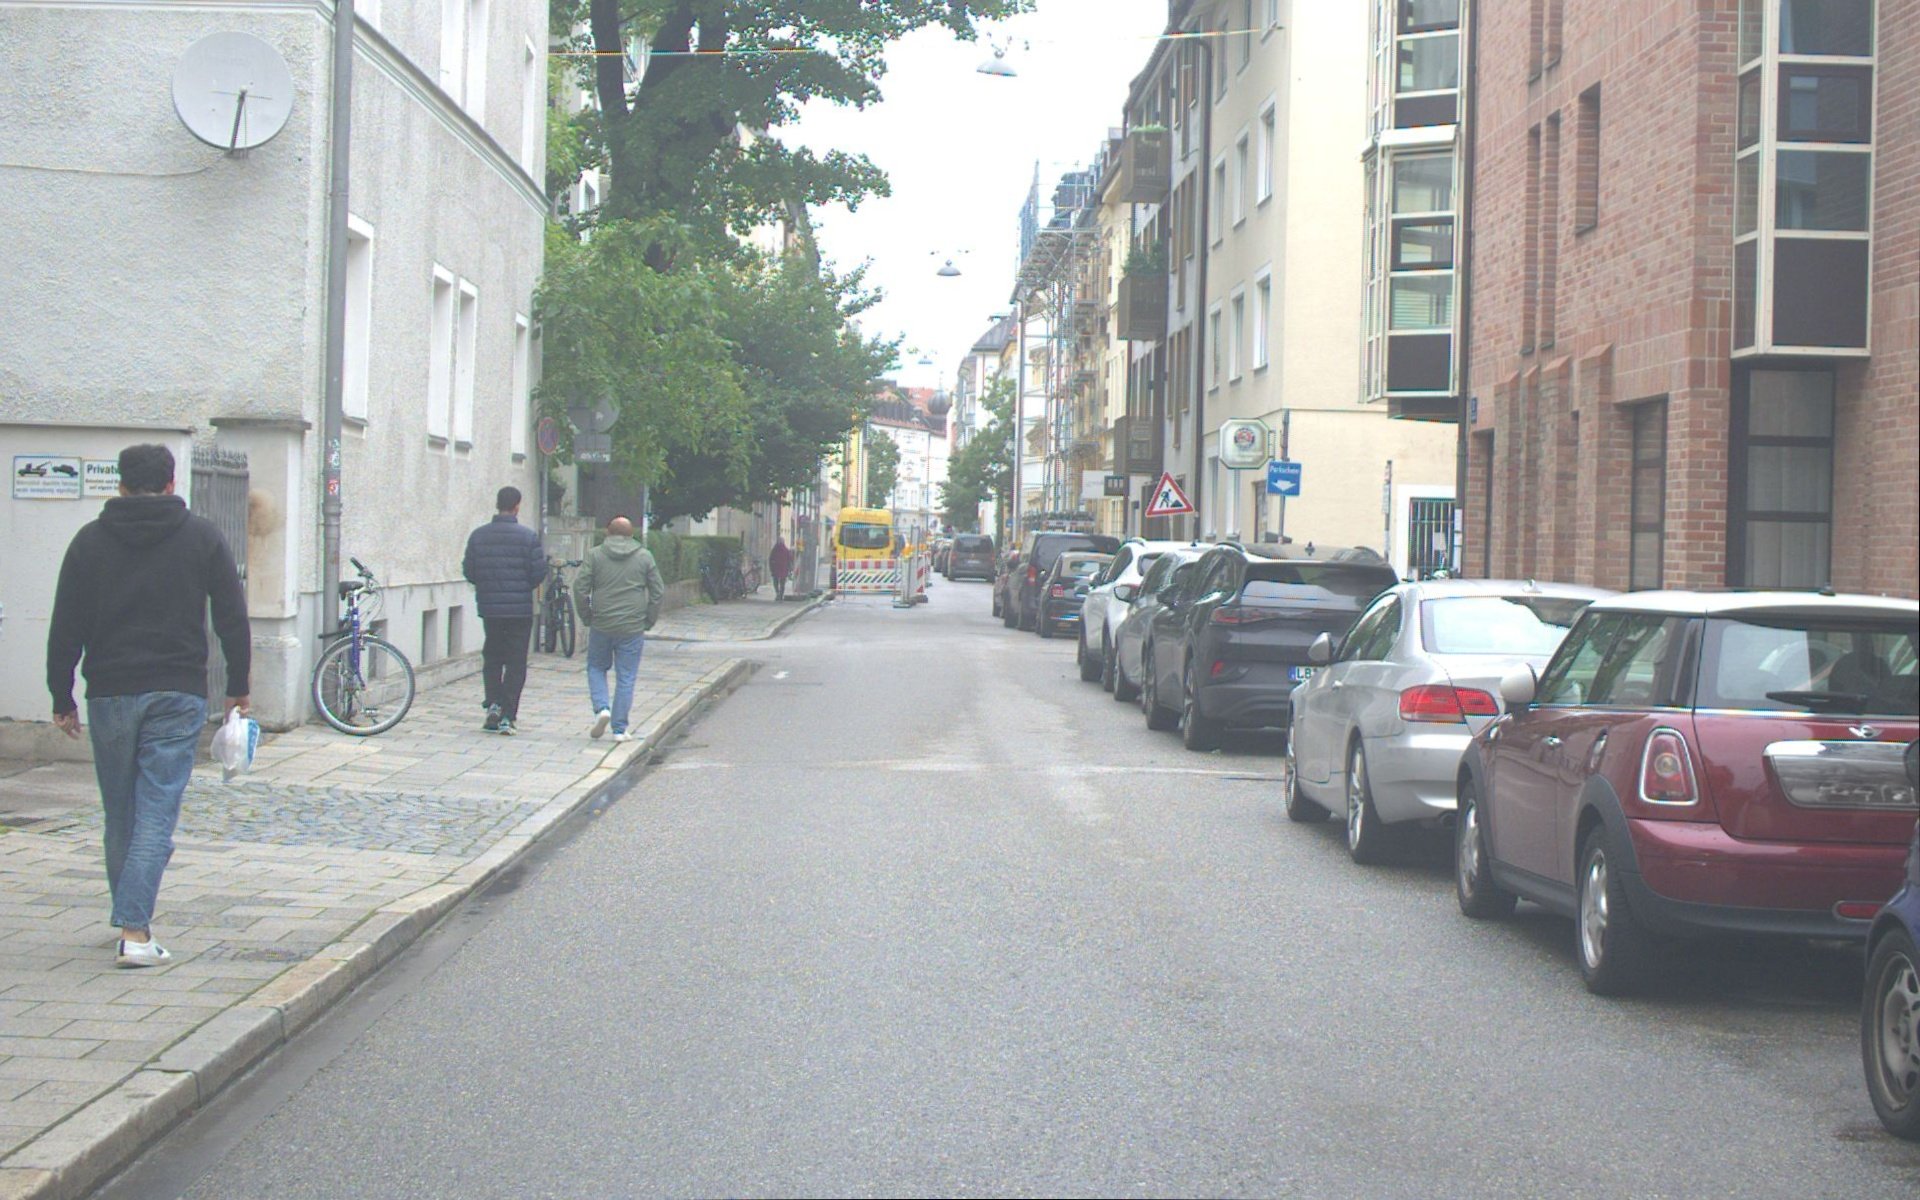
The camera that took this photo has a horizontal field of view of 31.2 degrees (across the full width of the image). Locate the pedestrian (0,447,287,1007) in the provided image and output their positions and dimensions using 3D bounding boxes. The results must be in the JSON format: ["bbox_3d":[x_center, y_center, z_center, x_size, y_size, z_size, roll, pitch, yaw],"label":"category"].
[{"bbox_3d":[-2.721,0.403,11.435,0.718,1.759,0.838,3,0,-1],"label":"pedestrian"}]

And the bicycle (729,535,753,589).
[{"bbox_3d":[-5.779,-1.006,90.764,0.514,1.413,1.934,1,0,-1],"label":"bicycle"}]

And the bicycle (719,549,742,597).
[{"bbox_3d":[-5.203,-0.606,77.967,0.446,1.069,2.468,1,1,-2],"label":"bicycle"}]

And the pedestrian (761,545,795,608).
[{"bbox_3d":[-4.344,-0.572,82.246,0.756,1.486,0.831,1,0,-1],"label":"pedestrian"}]

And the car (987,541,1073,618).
[{"bbox_3d":[1.527,-0.472,76.137,1.635,1.509,3.829,5,1,-1],"label":"car"}]

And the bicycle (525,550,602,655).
[{"bbox_3d":[-4.457,0.016,38.556,0.473,1.107,1.761,2,1,-18],"label":"bicycle"}]

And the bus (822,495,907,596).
[{"bbox_3d":[-3.008,-1.725,109.864,2.592,3.091,6.306,1,1,-1],"label":"bus"}]

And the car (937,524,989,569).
[{"bbox_3d":[0.110,-2.215,141.920,1.801,1.706,3.827,5,1,-3],"label":"car"}]

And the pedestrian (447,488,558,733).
[{"bbox_3d":[-3.306,0.071,24.890,0.612,1.707,0.823,3,0,-1],"label":"pedestrian"}]

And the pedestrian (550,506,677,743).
[{"bbox_3d":[-2.513,0.170,25.022,0.753,1.653,0.906,3,0,-1],"label":"pedestrian"}]

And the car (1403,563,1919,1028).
[{"bbox_3d":[2.953,0.631,13.335,1.745,1.457,4.151,2,1,-2],"label":"car"}]

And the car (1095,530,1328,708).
[{"bbox_3d":[2.404,0.159,33.752,1.721,1.630,3.882,1,1,-4],"label":"car"}]

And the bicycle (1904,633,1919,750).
[{"bbox_3d":[7.734,0.685,25.550,1.316,0.856,0.413,1,0,0],"label":"bicycle"}]

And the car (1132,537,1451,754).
[{"bbox_3d":[2.580,0.297,27.778,1.885,1.550,4.392,2,1,-3],"label":"car"}]

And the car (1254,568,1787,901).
[{"bbox_3d":[2.747,0.592,17.933,1.836,1.412,4.601,2,1,-2],"label":"car"}]

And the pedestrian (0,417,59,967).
[{"bbox_3d":[-3.461,0.291,11.222,0.718,1.790,0.917,3,0,-1],"label":"pedestrian"}]

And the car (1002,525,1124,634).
[{"bbox_3d":[1.898,-0.415,64.256,1.801,1.814,4.001,5,1,-3],"label":"car"}]

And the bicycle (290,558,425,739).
[{"bbox_3d":[-4.212,0.318,23.948,0.641,1.213,1.665,1,1,-20],"label":"bicycle"}]

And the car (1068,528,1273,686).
[{"bbox_3d":[2.267,0.035,38.028,1.748,1.624,4.197,1,1,-3],"label":"car"}]

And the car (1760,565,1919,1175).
[{"bbox_3d":[3.180,0.707,8.469,1.521,1.506,3.202,2,1,-2],"label":"car"}]

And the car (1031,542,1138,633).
[{"bbox_3d":[2.137,-0.241,59.899,1.624,1.482,3.808,2,1,-1],"label":"car"}]

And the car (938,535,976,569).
[{"bbox_3d":[-0.154,-2.364,170.319,1.801,1.608,4.000,2,1,-1],"label":"car"}]
